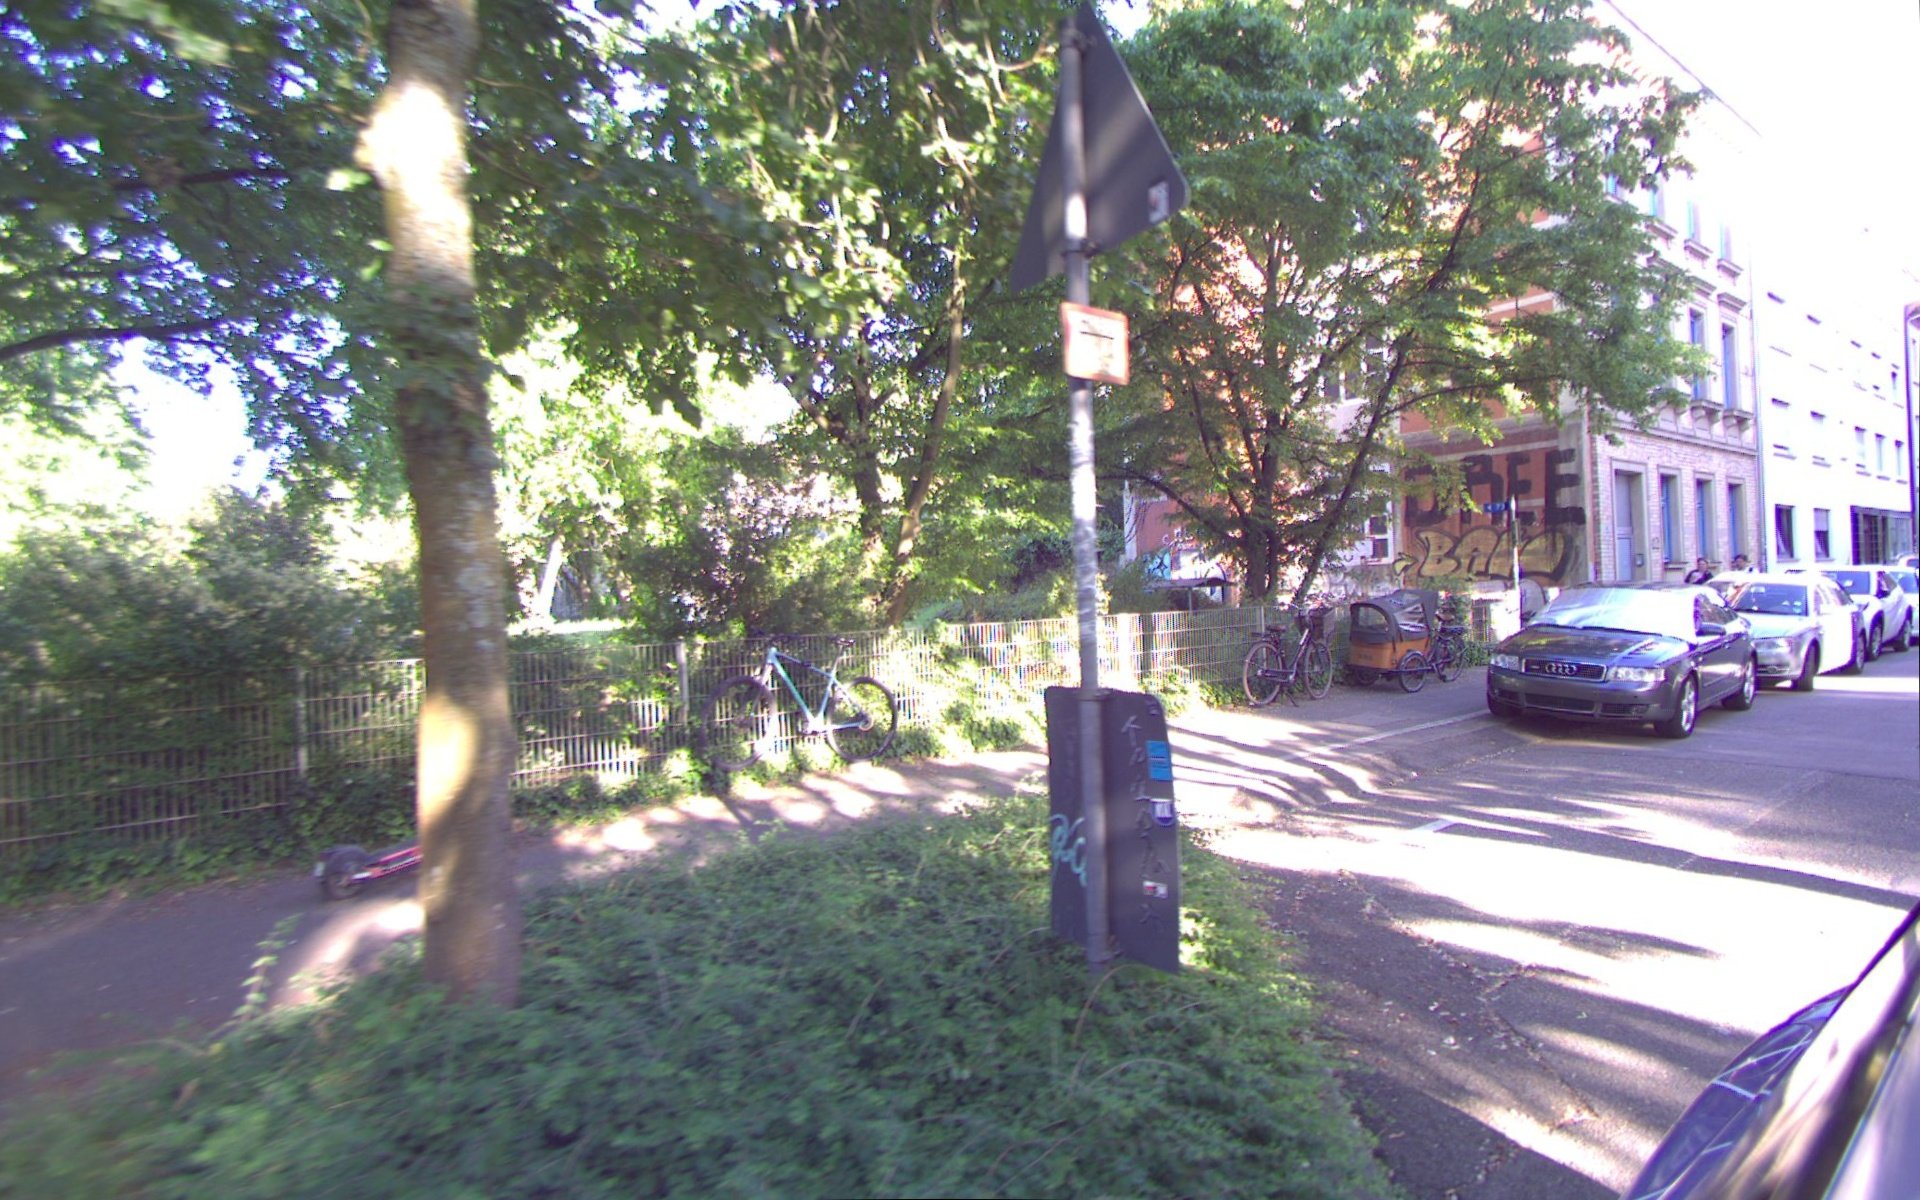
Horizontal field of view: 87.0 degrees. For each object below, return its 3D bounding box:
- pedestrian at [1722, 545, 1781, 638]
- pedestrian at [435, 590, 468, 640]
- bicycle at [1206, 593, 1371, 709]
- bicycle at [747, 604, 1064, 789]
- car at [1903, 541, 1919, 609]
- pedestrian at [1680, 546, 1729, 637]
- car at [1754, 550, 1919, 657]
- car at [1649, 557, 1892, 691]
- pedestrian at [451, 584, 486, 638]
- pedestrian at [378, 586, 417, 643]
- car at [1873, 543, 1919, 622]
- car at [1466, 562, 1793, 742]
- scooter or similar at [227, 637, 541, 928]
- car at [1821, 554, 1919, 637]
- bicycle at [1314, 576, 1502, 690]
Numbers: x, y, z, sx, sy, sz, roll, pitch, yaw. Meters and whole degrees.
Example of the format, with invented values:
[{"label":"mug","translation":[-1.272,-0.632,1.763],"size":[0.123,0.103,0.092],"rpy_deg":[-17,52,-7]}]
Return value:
[{"label":"pedestrian","translation":[15.143,-0.173,19.375],"size":[0.739,1.730,0.712],"rpy_deg":[-2,3,-38]},{"label":"pedestrian","translation":[-21.073,0.621,41.970],"size":[0.897,2.039,0.747],"rpy_deg":[-2,0,9]},{"label":"bicycle","translation":[3.885,0.557,11.924],"size":[1.945,1.216,0.849],"rpy_deg":[-2,0,-36]},{"label":"bicycle","translation":[-0.399,0.728,8.647],"size":[2.642,1.284,0.849],"rpy_deg":[-2,0,-36]},{"label":"car","translation":[25.992,-0.687,26.045],"size":[4.251,1.687,1.886],"rpy_deg":[-3,3,-38]},{"label":"pedestrian","translation":[14.607,-0.182,19.861],"size":[0.694,1.730,0.599],"rpy_deg":[-2,3,-38]},{"label":"car","translation":[15.058,-0.002,17.233],"size":[3.696,1.605,1.597],"rpy_deg":[-3,1,-38]},{"label":"car","translation":[11.228,0.224,13.913],"size":[4.275,1.512,1.663],"rpy_deg":[-3,2,-38]},{"label":"pedestrian","translation":[-18.815,0.416,38.752],"size":[0.897,2.039,0.747],"rpy_deg":[-2,0,9]},{"label":"pedestrian","translation":[-20.575,0.510,37.024],"size":[0.897,2.039,0.747],"rpy_deg":[-2,0,9]},{"label":"car","translation":[22.195,-0.442,22.670],"size":[4.248,1.687,1.771],"rpy_deg":[-2,1,-37]},{"label":"car","translation":[7.325,0.403,10.898],"size":[4.336,1.512,1.724],"rpy_deg":[-3,2,-39]},{"label":"scooter or similar","translation":[-3.070,0.890,5.557],"size":[0.539,1.277,1.463],"rpy_deg":[-1,1,21]},{"label":"car","translation":[18.392,-0.151,19.915],"size":[3.934,1.468,1.596],"rpy_deg":[-3,2,-40]},{"label":"bicycle","translation":[5.974,0.375,13.458],"size":[2.283,1.318,1.295],"rpy_deg":[-3,2,-35]}]
